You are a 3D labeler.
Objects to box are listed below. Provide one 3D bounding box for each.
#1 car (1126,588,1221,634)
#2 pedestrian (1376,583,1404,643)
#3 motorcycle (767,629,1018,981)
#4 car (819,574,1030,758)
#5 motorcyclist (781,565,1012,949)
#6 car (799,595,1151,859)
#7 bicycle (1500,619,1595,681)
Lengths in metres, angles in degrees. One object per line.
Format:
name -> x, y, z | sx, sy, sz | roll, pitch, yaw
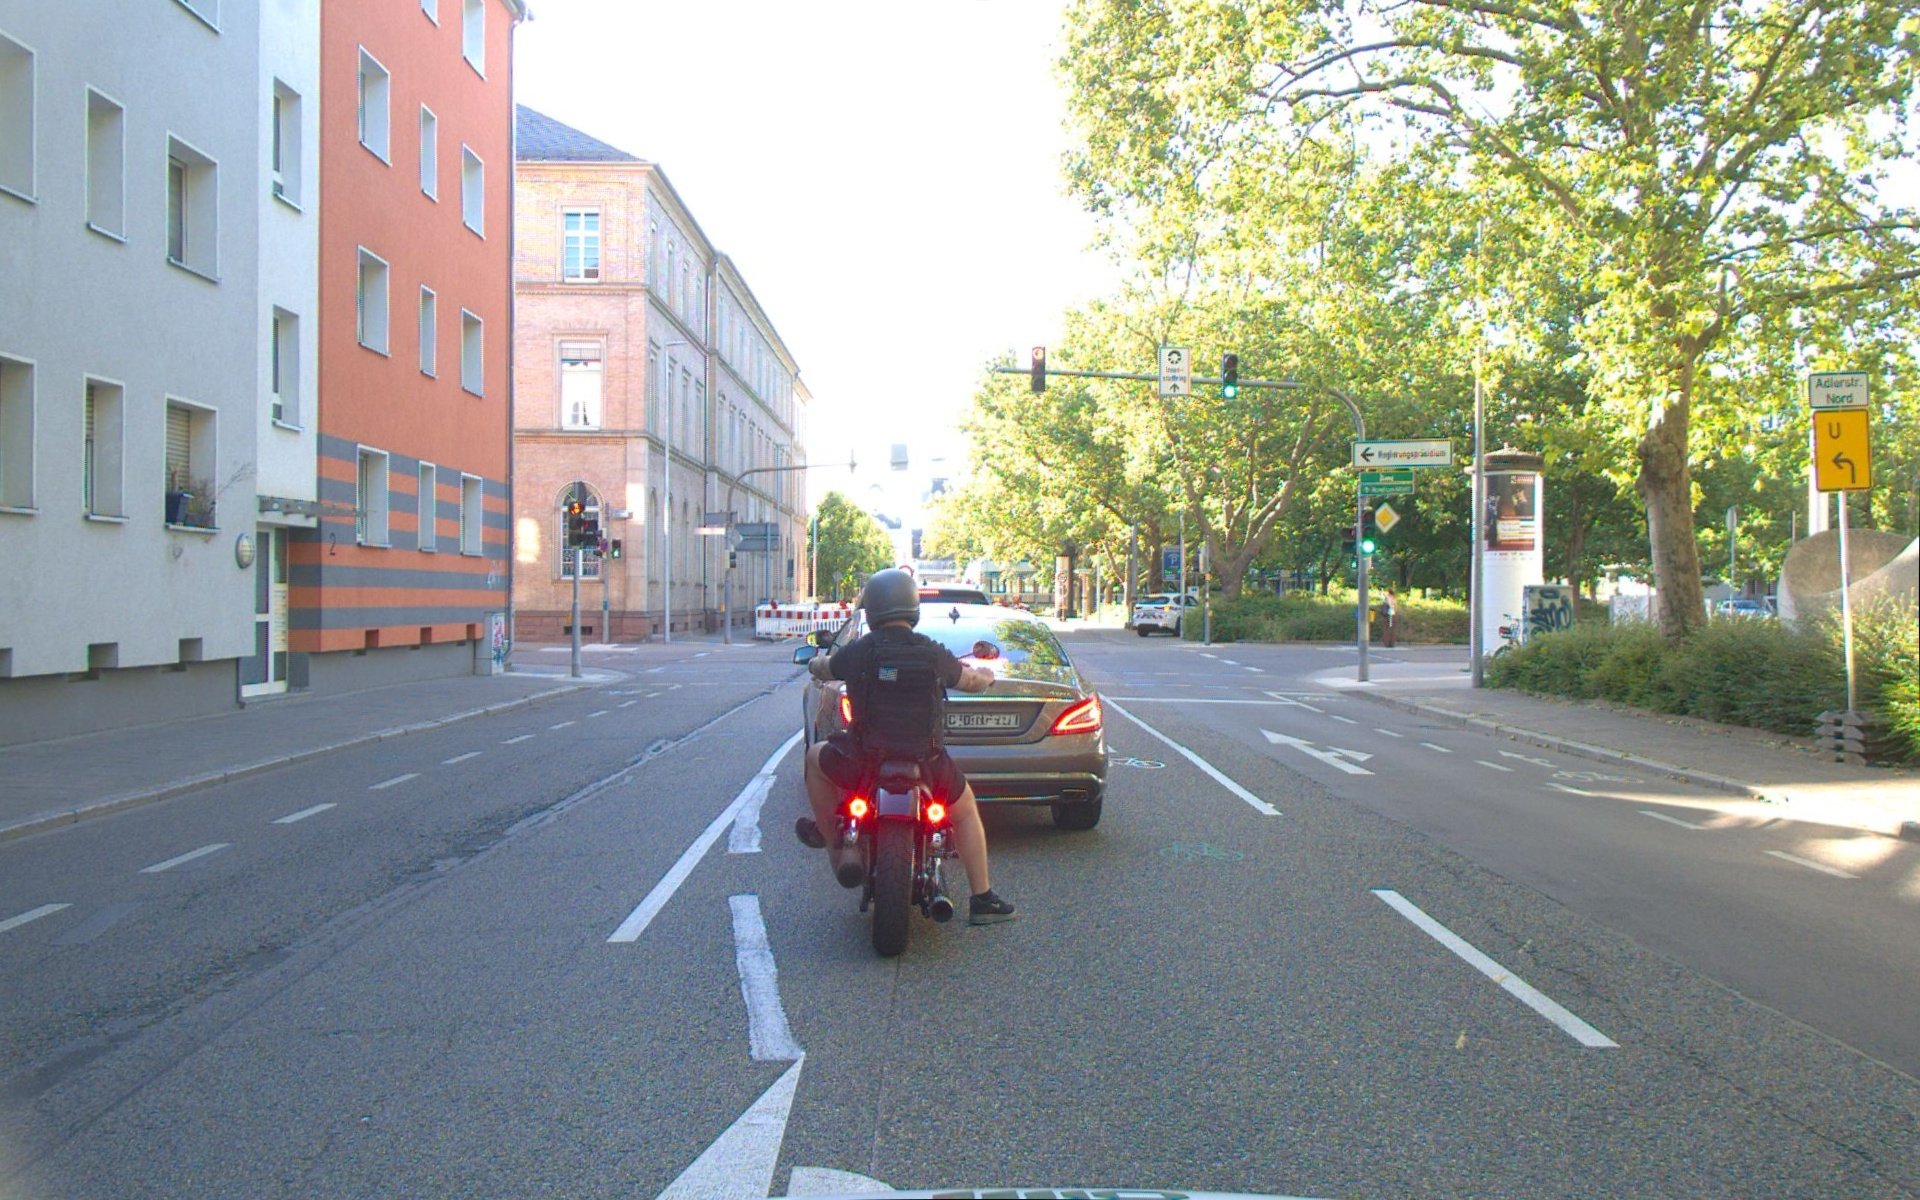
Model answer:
car -> 8.662, 0.441, 66.900 | 1.910, 1.738, 4.467 | 2, 0, 35
pedestrian -> 13.196, 0.395, 50.732 | 0.664, 1.803, 0.616 | 1, -1, 29
motorcycle -> -0.275, 0.806, 7.553 | 0.961, 1.297, 2.407 | 0, 0, -1
car -> -0.361, 0.632, 17.534 | 1.953, 1.695, 3.999 | 1, 0, -1
motorcyclist -> -0.273, 0.654, 7.544 | 0.961, 1.606, 1.248 | 0, 0, -1
car -> -0.112, 0.709, 11.615 | 1.834, 1.469, 4.422 | 0, 0, -8
bicycle -> 9.789, 0.836, 27.592 | 1.452, 0.997, 0.299 | 1, -1, 5
